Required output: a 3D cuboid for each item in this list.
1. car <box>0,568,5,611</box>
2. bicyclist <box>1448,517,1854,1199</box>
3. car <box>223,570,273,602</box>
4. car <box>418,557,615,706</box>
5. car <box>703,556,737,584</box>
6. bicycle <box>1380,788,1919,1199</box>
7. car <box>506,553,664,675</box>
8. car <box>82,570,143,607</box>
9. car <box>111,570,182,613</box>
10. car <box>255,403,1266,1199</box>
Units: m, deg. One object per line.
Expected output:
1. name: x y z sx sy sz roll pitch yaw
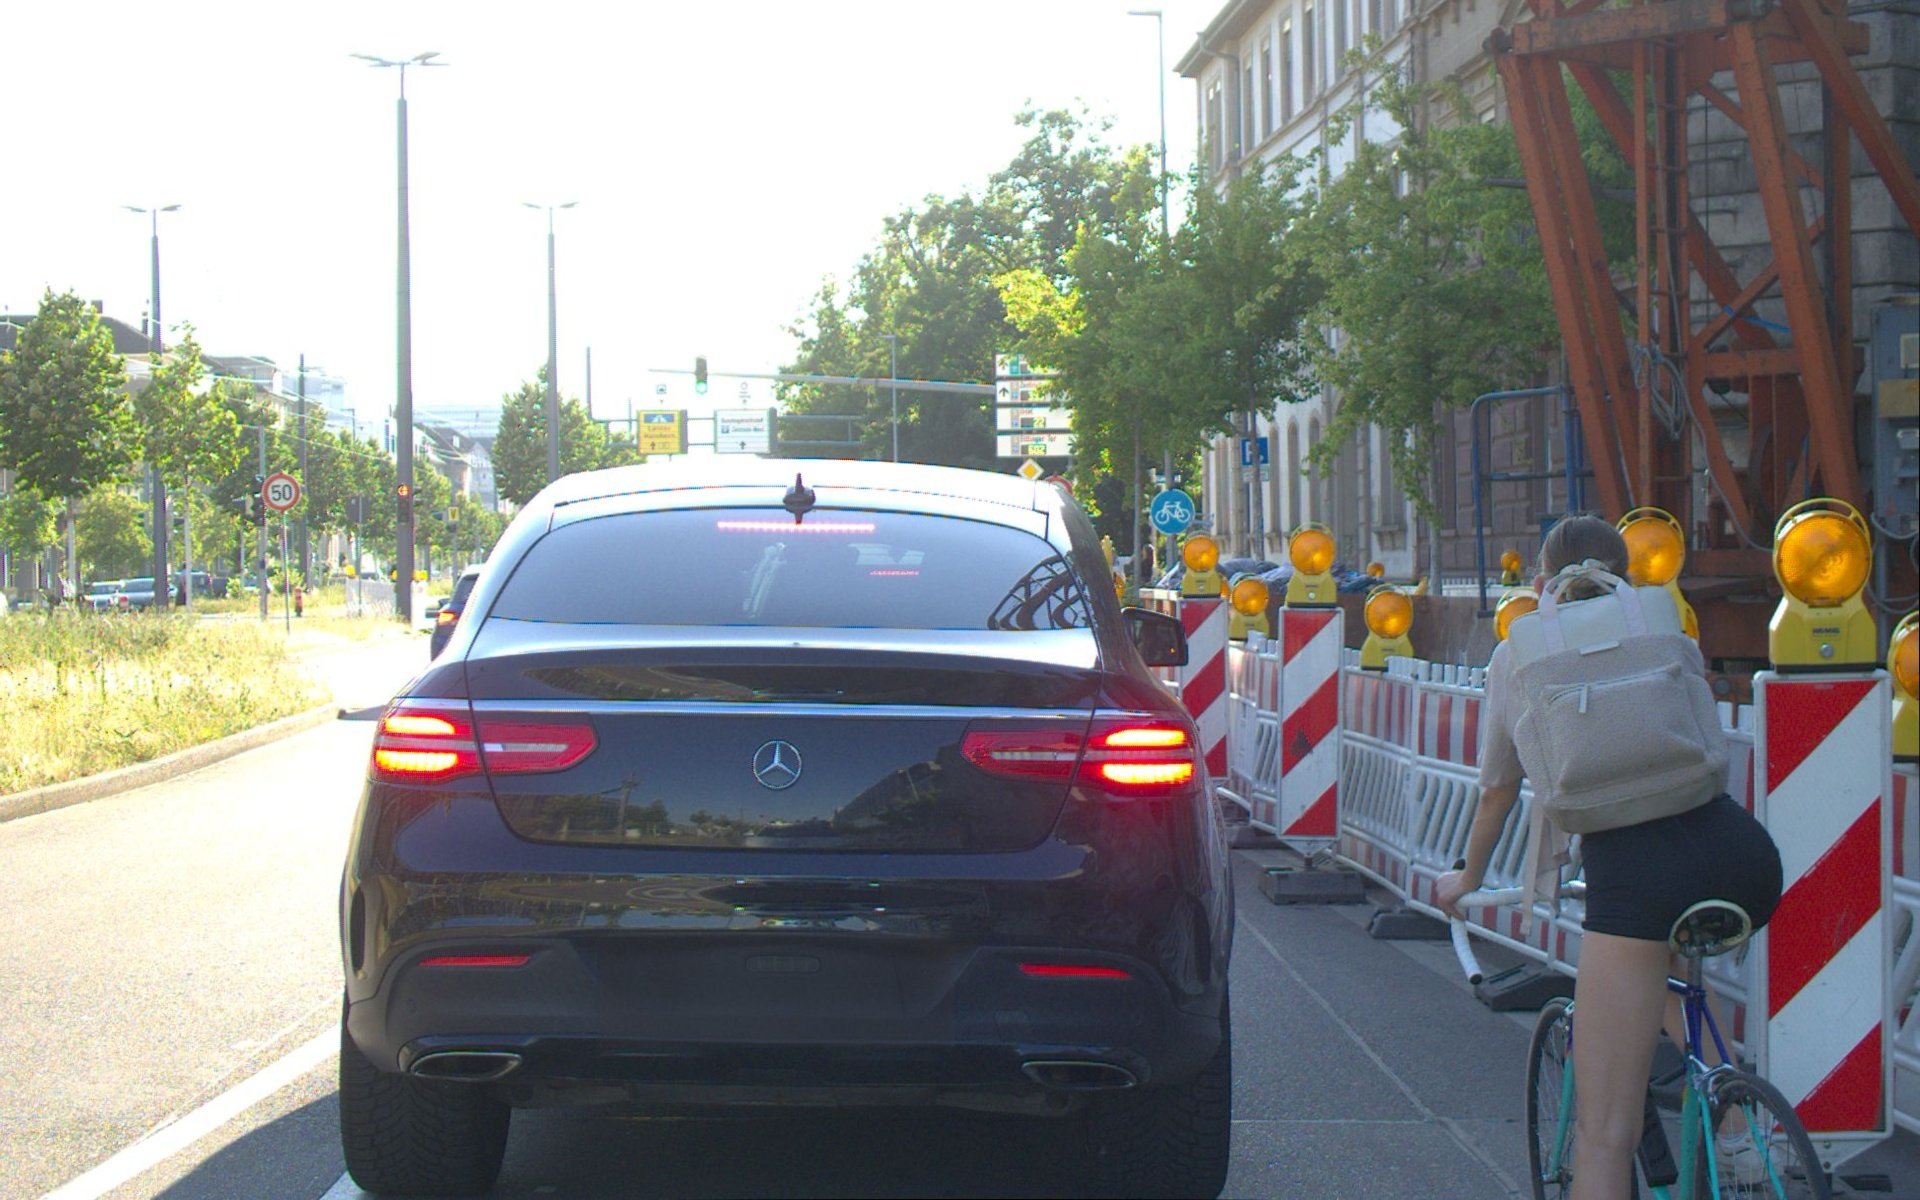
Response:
1. car: -33.372 -0.354 115.479 1.708 1.437 3.583 1 1 -3
2. bicyclist: 1.162 0.561 5.871 0.522 1.391 0.615 1 0 -3
3. car: -33.062 -0.665 159.756 1.708 1.437 3.583 1 1 -3
4. car: -4.507 0.291 35.339 1.708 1.437 3.583 1 1 -3
5. car: -12.865 -1.617 184.447 1.708 1.437 3.583 1 1 -3
6. bicycle: 1.144 0.910 5.990 0.512 1.048 1.725 1 1 -3
7. car: -4.613 0.148 42.694 1.708 1.437 3.583 1 1 -3
8. car: -33.984 -0.457 137.935 1.708 1.437 3.583 1 1 -3
9. car: -27.824 -0.300 117.653 1.708 1.437 3.583 1 1 -3
10. car: -0.421 0.484 8.852 1.993 1.766 4.000 1 1 -1
